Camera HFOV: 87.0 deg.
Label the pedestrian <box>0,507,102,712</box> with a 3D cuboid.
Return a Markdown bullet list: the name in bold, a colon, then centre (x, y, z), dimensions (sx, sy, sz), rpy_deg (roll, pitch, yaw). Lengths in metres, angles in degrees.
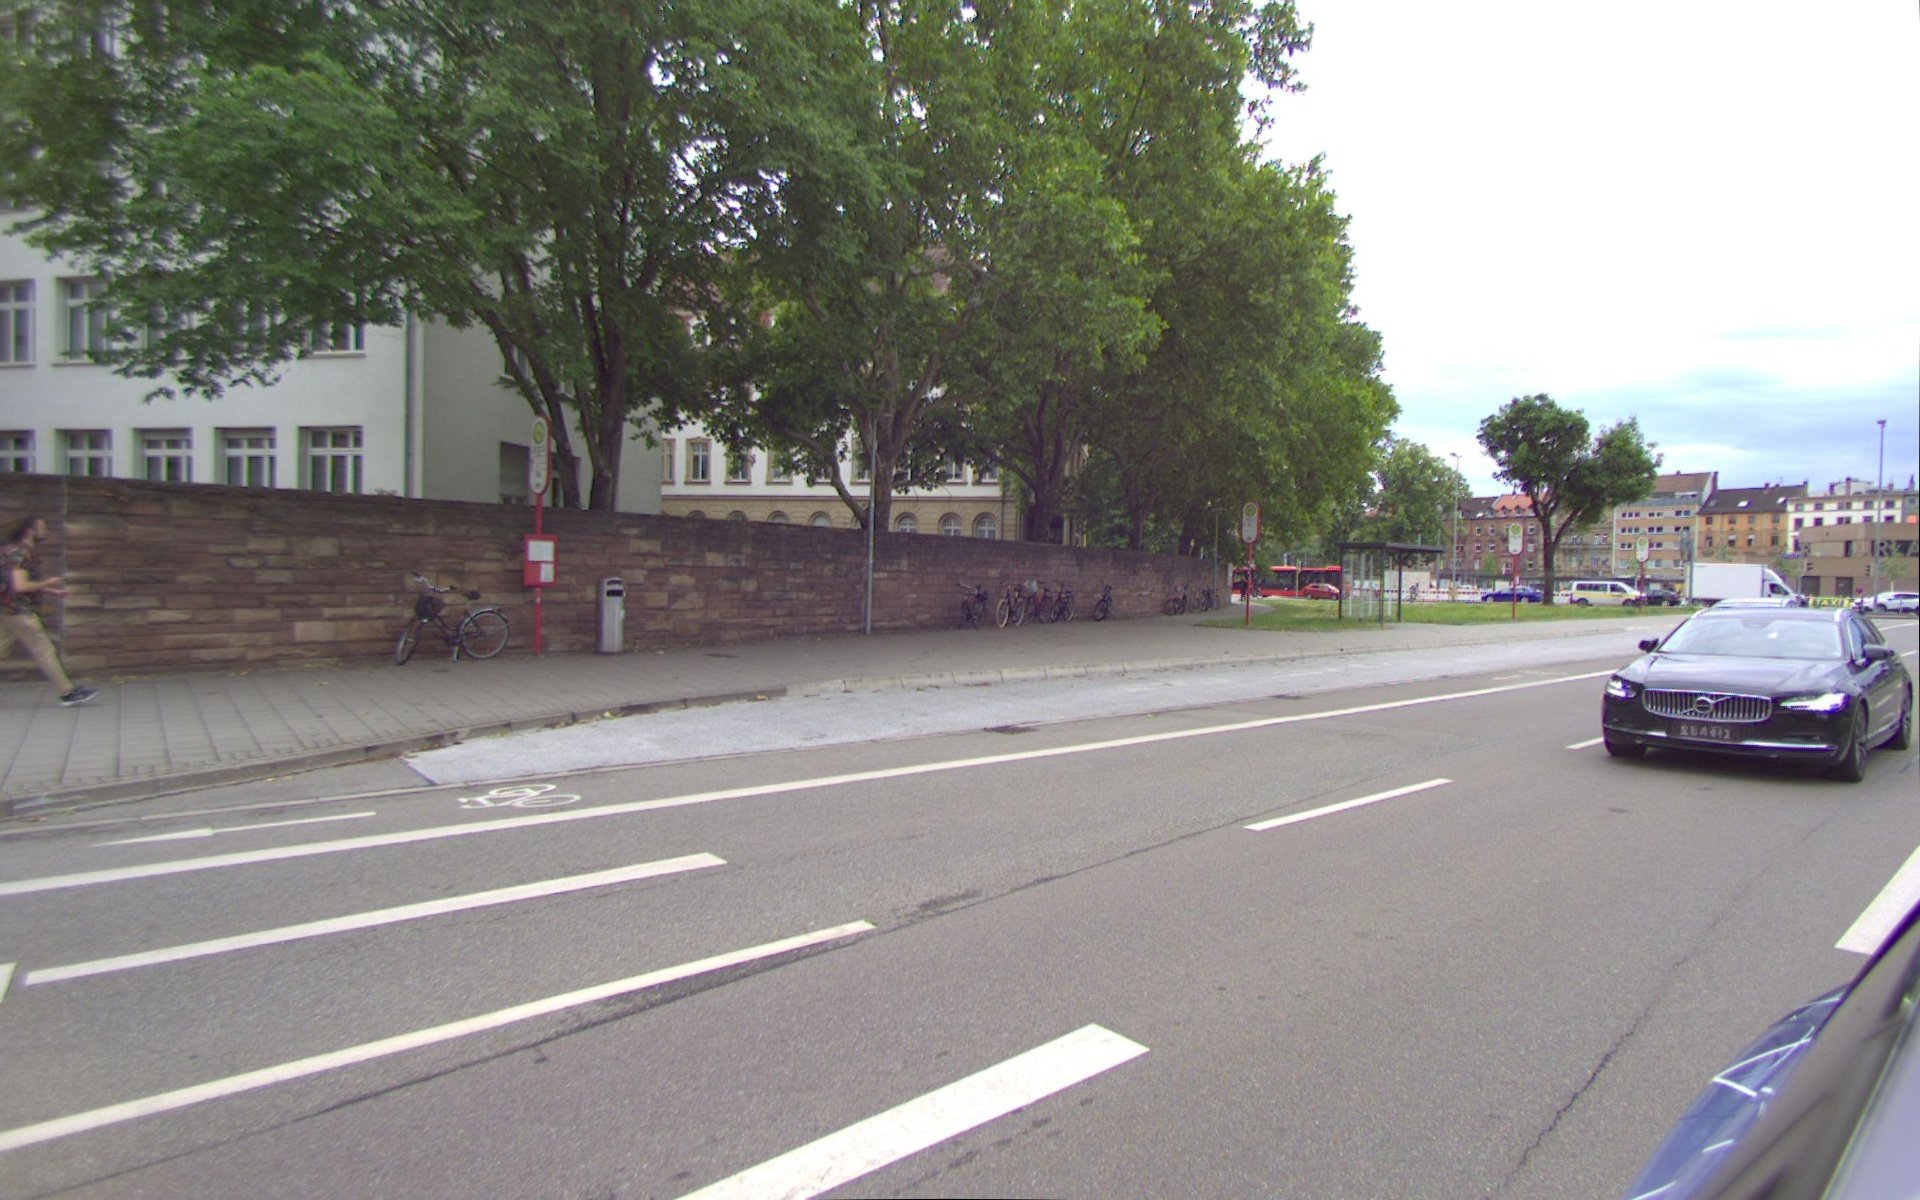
- **pedestrian**: centre (-8.692, 0.067, 9.454), dimensions (1.014, 1.844, 0.632), rpy_deg (1, 2, -41)

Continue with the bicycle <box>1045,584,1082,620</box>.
- **bicycle**: centre (2.950, 0.047, 28.674), dimensions (0.414, 0.954, 1.508), rpy_deg (3, 2, 31)

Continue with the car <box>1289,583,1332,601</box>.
- **car**: centre (31.923, -0.748, 92.201), dimensions (3.422, 1.399, 1.266), rpy_deg (2, -6, 44)

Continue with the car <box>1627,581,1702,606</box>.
- **car**: centre (52.941, -0.504, 76.099), dimensions (1.660, 1.657, 4.282), rpy_deg (1, 3, -40)

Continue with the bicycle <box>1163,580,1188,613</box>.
- **bicycle**: centre (8.128, -0.148, 38.150), dimensions (0.589, 1.150, 1.700), rpy_deg (3, 2, 23)

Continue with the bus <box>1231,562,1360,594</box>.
- **bus**: centre (32.592, -2.206, 99.030), dimensions (2.889, 2.944, 12.067), rpy_deg (0, 1, -44)

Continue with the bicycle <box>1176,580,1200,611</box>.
- **bicycle**: centre (8.933, -0.190, 39.674), dimensions (0.589, 1.143, 1.700), rpy_deg (3, 2, 23)

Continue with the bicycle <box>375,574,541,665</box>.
- **bicycle**: centre (-6.972, 0.235, 14.137), dimensions (0.845, 1.141, 1.900), rpy_deg (4, 3, 34)

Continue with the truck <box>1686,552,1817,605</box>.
- **truck**: centre (53.965, -1.488, 69.145), dimensions (6.835, 3.453, 2.520), rpy_deg (1, 3, 45)

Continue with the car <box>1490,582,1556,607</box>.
- **car**: centre (46.682, -0.456, 83.939), dimensions (1.736, 1.767, 4.422), rpy_deg (0, 3, -44)

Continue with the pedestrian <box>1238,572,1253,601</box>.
- **pedestrian**: centre (17.890, -0.843, 63.335), dimensions (0.745, 1.756, 0.821), rpy_deg (3, 2, 10)

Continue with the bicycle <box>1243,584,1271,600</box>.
- **bicycle**: centre (27.374, -0.780, 93.325), dimensions (2.384, 1.340, 0.753), rpy_deg (5, 3, 44)

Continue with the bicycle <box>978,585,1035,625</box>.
- **bicycle**: centre (1.202, 0.107, 25.748), dimensions (0.650, 0.963, 1.750), rpy_deg (3, 3, 31)

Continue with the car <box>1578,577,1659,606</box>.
- **car**: centre (48.444, -0.690, 74.562), dimensions (1.889, 1.942, 4.704), rpy_deg (-4, 4, -44)

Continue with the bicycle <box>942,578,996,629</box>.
- **bicycle**: centre (0.233, 0.062, 24.080), dimensions (0.712, 1.113, 1.781), rpy_deg (3, 2, 20)

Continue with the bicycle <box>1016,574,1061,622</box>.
- **bicycle**: centre (2.125, -0.075, 27.301), dimensions (0.497, 1.236, 1.609), rpy_deg (3, 2, 31)

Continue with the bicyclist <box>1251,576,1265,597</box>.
- **bicyclist**: centre (27.446, -1.285, 93.266), dimensions (0.893, 1.883, 0.753), rpy_deg (4, 3, 43)

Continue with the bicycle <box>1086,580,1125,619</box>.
- **bicycle**: centre (4.418, -0.042, 30.611), dimensions (0.593, 1.118, 1.638), rpy_deg (3, 2, 29)

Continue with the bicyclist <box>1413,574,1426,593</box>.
- **bicyclist**: centre (37.591, -1.373, 82.801), dimensions (0.737, 1.526, 0.757), rpy_deg (4, 2, 39)

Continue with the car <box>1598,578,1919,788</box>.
- **car**: centre (8.048, 0.618, 9.982), dimensions (4.371, 1.620, 1.886), rpy_deg (0, 0, -42)

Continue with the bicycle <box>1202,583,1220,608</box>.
- **bicycle**: centre (11.011, -0.213, 44.345), dimensions (0.544, 1.004, 1.626), rpy_deg (3, 2, 20)

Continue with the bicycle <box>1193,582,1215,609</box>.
- **bicycle**: centre (10.324, -0.219, 42.775), dimensions (0.589, 1.072, 1.700), rpy_deg (3, 2, 23)

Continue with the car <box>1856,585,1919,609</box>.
- **car**: centre (64.358, -0.197, 69.354), dimensions (3.969, 1.493, 1.815), rpy_deg (3, 2, 11)

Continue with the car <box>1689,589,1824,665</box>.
- **car**: centre (17.241, 0.519, 21.859), dimensions (3.596, 1.484, 1.669), rpy_deg (0, 1, -41)
